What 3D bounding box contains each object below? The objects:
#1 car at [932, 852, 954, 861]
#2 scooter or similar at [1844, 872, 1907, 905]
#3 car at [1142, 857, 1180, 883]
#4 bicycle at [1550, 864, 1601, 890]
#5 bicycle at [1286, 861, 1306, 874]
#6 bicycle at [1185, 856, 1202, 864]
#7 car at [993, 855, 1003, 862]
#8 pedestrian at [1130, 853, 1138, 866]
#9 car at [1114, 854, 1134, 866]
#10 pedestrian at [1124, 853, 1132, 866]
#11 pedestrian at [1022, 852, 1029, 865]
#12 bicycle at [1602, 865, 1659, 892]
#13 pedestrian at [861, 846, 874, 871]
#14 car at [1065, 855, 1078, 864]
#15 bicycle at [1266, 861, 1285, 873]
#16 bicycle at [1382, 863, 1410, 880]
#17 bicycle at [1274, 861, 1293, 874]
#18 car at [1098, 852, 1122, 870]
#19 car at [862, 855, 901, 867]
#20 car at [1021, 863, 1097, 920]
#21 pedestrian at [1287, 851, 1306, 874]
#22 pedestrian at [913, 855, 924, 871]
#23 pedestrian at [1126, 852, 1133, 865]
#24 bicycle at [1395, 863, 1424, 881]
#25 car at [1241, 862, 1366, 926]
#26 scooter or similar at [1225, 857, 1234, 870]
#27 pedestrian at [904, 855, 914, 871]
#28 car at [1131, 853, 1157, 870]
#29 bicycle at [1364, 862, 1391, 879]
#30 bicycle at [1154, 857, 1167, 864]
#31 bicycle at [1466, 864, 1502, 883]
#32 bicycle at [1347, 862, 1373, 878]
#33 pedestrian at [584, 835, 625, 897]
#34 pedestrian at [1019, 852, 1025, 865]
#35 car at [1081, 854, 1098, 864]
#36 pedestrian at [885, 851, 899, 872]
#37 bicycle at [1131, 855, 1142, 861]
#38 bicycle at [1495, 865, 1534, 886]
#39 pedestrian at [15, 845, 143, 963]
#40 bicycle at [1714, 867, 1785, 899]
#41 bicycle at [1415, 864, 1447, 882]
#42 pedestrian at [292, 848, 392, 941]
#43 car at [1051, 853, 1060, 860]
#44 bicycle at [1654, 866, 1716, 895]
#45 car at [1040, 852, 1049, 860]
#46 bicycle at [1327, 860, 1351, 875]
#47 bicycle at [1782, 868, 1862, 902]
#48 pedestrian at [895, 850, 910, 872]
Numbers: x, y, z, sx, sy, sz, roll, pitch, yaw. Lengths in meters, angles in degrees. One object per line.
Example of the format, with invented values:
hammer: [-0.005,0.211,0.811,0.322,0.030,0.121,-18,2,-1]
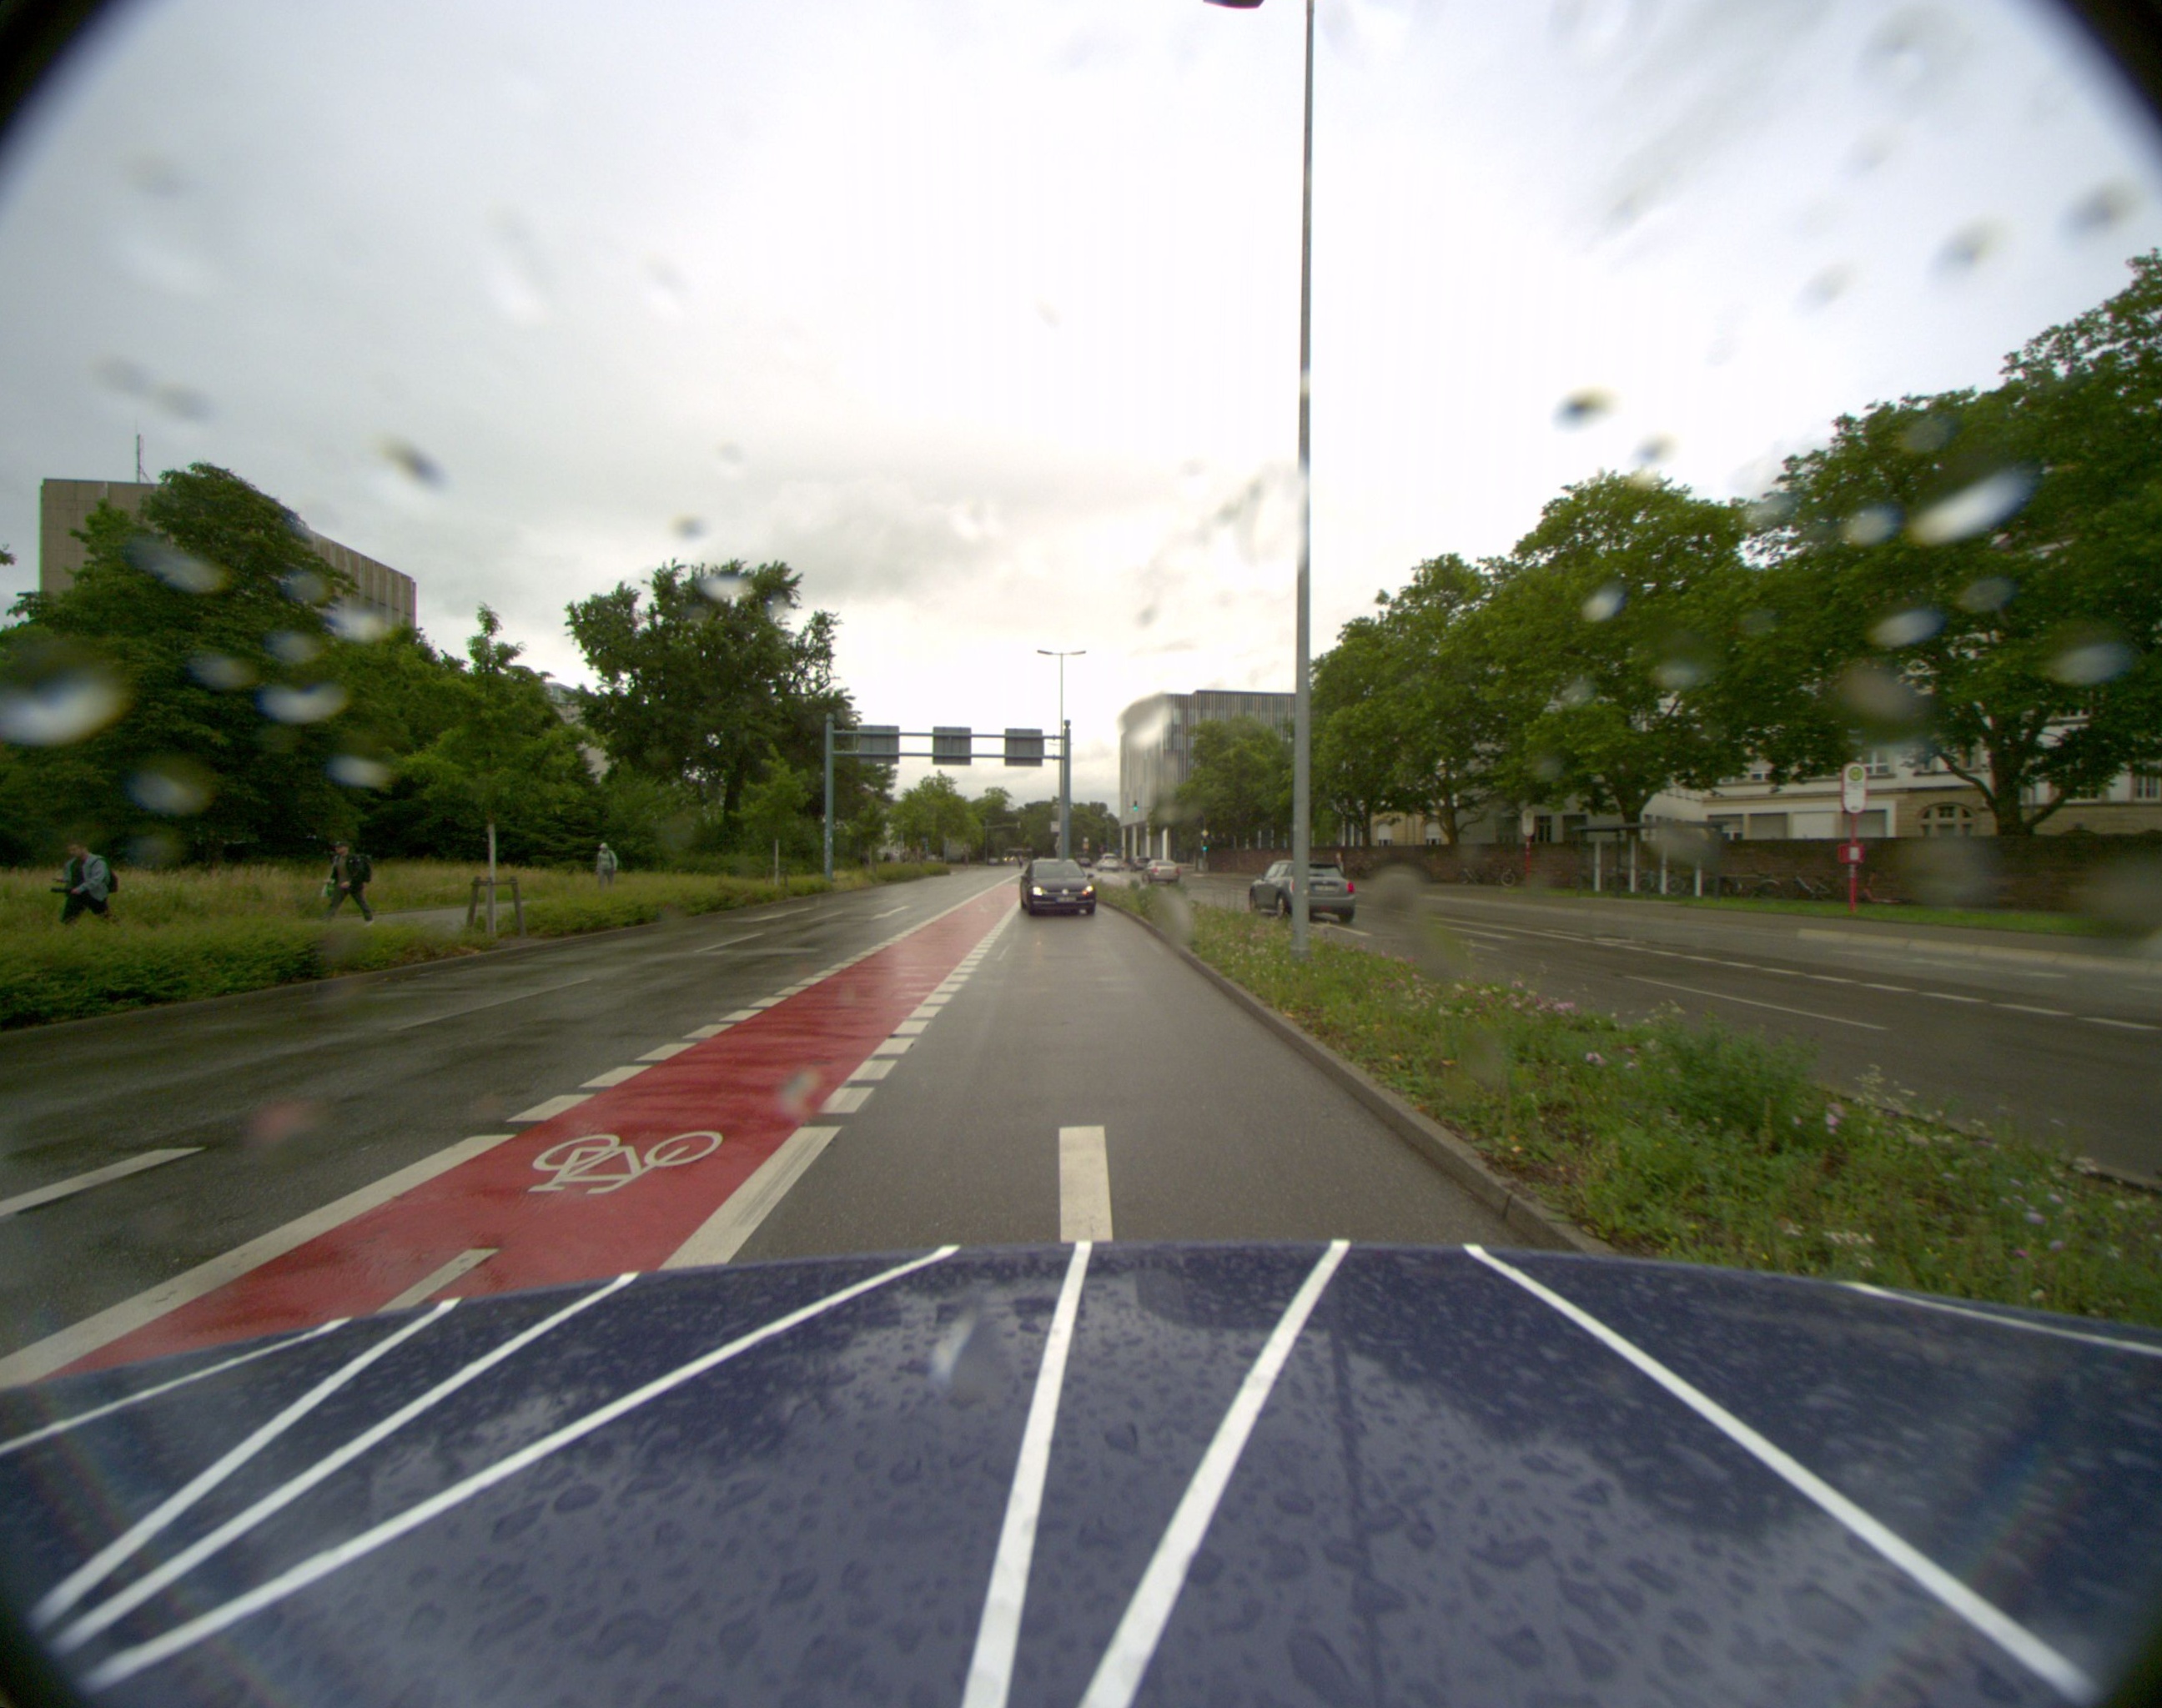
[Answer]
car: [-28.413,0.438,156.006,4.428,1.862,1.636,0,0,-11]
scooter or similar: [26.754,1.141,25.611,0.574,1.040,1.360,0,0,-19]
car: [4.668,0.912,44.875,1.698,1.407,4.182,0,0,-1]
bicycle: [22.773,1.043,35.062,0.575,1.129,1.987,0,0,-22]
bicycle: [16.617,1.038,58.720,0.734,0.977,1.699,0,0,-14]
bicycle: [16.107,0.866,108.779,2.287,1.215,0.598,0,0,-15]
car: [-15.678,0.864,143.156,1.661,1.259,4.105,0,0,-4]
pedestrian: [7.374,0.729,105.794,0.788,1.814,0.794,0,0,-26]
car: [5.331,0.765,95.180,1.684,1.396,4.154,1,0,-8]
pedestrian: [6.476,0.719,104.819,0.788,1.814,0.794,0,0,-26]
pedestrian: [-7.645,0.621,104.419,0.786,1.814,0.625,0,0,4]
bicycle: [23.724,1.047,32.843,0.575,1.129,1.987,0,0,-22]
pedestrian: [-16.205,0.343,57.713,0.731,1.848,0.851,0,0,4]
car: [-1.676,0.927,133.038,1.629,1.407,4.063,2,0,-9]
bicycle: [15.958,1.038,62.390,0.734,0.977,1.699,0,0,-14]
bicycle: [19.310,1.057,46.596,0.734,0.977,1.699,0,0,-14]
bicycle: [16.082,1.037,60.370,0.734,0.977,1.699,0,0,-14]
car: [2.983,0.715,79.372,1.831,1.672,5.163,2,0,-4]
car: [-24.223,0.799,92.249,4.389,1.330,1.771,0,3,-6]
car: [-0.706,0.965,21.099,1.661,1.356,4.104,-1,0,-8]
pedestrian: [16.008,0.643,56.547,0.871,1.686,1.399,0,0,-9]
pedestrian: [-16.523,0.891,77.112,0.878,1.598,0.862,0,0,-25]
pedestrian: [6.777,0.620,106.752,0.788,1.813,0.623,0,0,-26]
bicycle: [19.541,1.058,45.262,0.734,0.977,1.699,0,0,-14]
car: [5.456,0.914,19.195,1.777,1.368,4.120,3,-1,-2]
scooter or similar: [14.073,0.932,72.041,0.392,1.191,1.141,-7,1,-9]
pedestrian: [-17.378,0.891,76.705,0.878,1.598,0.862,0,0,-24]
car: [6.472,0.733,78.532,1.999,1.626,4.601,2,0,-3]
bicycle: [18.829,1.041,48.264,0.734,0.977,1.699,0,0,-14]
bicycle: [14.072,1.075,134.644,2.287,1.215,0.598,0,0,-15]
bicycle: [21.209,1.015,40.054,0.734,0.977,1.699,0,0,-14]
bicycle: [18.329,1.040,49.943,0.734,0.977,1.699,0,0,-14]
pedestrian: [-15.696,0.382,25.043,0.792,2.002,0.829,0,0,4]
pedestrian: [-8.163,0.606,105.115,0.786,1.814,0.625,0,0,5]
car: [1.219,0.737,116.268,1.814,1.531,4.699,0,0,-9]
pedestrian: [-15.311,0.621,61.611,0.935,1.693,0.829,-1,-2,2]
bicycle: [11.469,0.745,156.711,2.283,1.215,0.599,0,0,6]
bicycle: [21.660,1.069,38.019,0.734,0.977,1.699,0,0,-14]
pedestrian: [-15.697,0.756,11.931,0.935,1.786,0.829,0,0,4]
bicycle: [25.298,1.086,28.798,0.575,1.129,1.988,0,0,-19]
bicycle: [19.748,1.056,42.916,0.734,0.977,1.699,0,0,-14]
pedestrian: [-14.441,0.767,14.883,0.935,1.737,1.046,0,0,4]
car: [-5.196,0.453,156.239,1.600,1.407,4.522,2,0,-5]
bicycle: [24.563,1.051,30.950,0.575,1.129,1.988,0,0,-19]
car: [-7.095,0.335,147.652,1.684,1.493,3.866,1,0,-6]
bicycle: [17.876,0.938,52.669,0.734,0.977,1.699,0,0,-14]
bicycle: [26.243,1.081,26.966,0.575,1.129,1.988,0,0,-19]
pedestrian: [-14.342,0.585,61.125,0.935,1.710,0.829,-1,-2,2]
